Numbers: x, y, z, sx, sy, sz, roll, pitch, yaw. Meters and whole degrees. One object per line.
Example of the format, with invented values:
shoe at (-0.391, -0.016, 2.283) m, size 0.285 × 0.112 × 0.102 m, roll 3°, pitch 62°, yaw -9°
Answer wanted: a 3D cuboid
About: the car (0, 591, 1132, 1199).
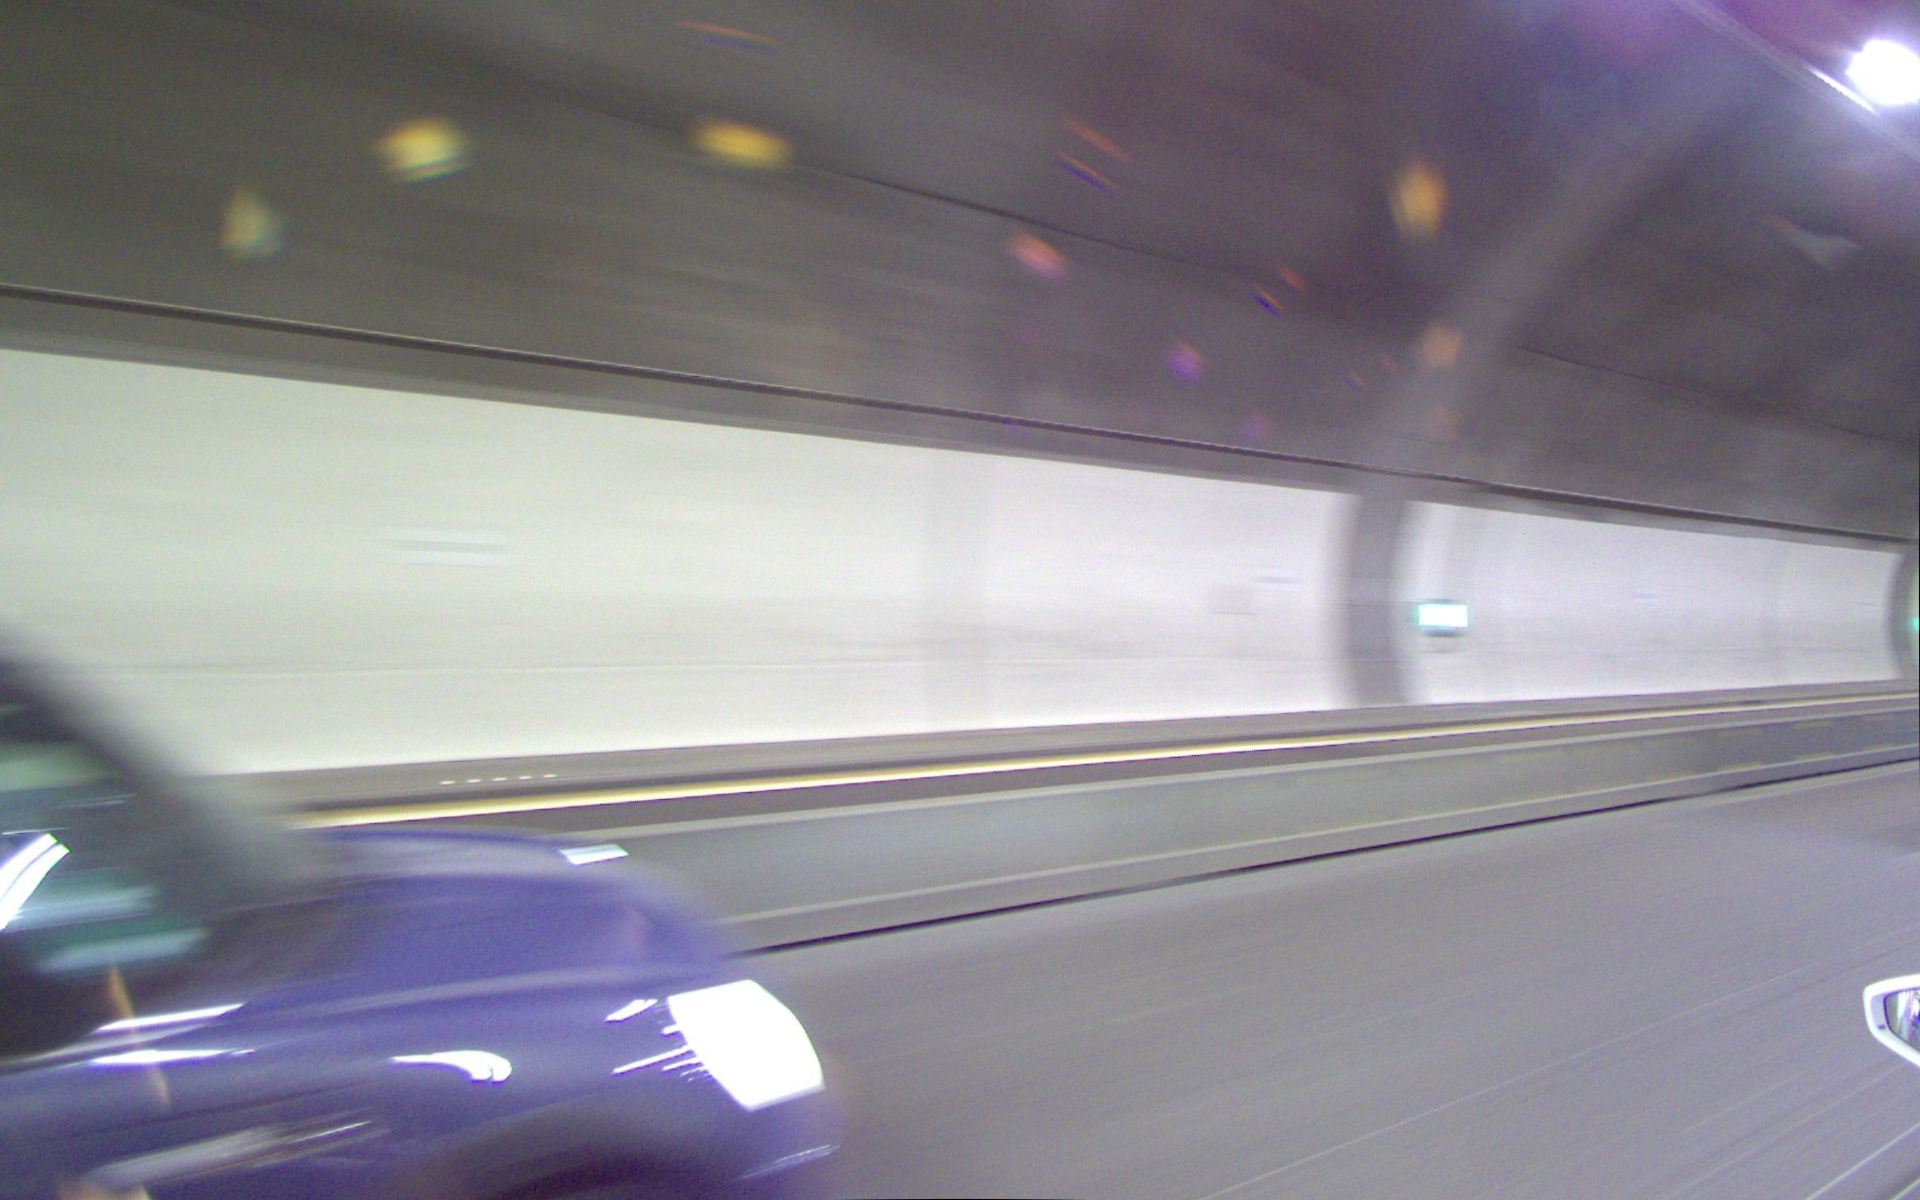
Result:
car at (-1.757, 0.700, 1.704) m, size 3.877 × 1.436 × 1.681 m, roll 1°, pitch 0°, yaw -30°
